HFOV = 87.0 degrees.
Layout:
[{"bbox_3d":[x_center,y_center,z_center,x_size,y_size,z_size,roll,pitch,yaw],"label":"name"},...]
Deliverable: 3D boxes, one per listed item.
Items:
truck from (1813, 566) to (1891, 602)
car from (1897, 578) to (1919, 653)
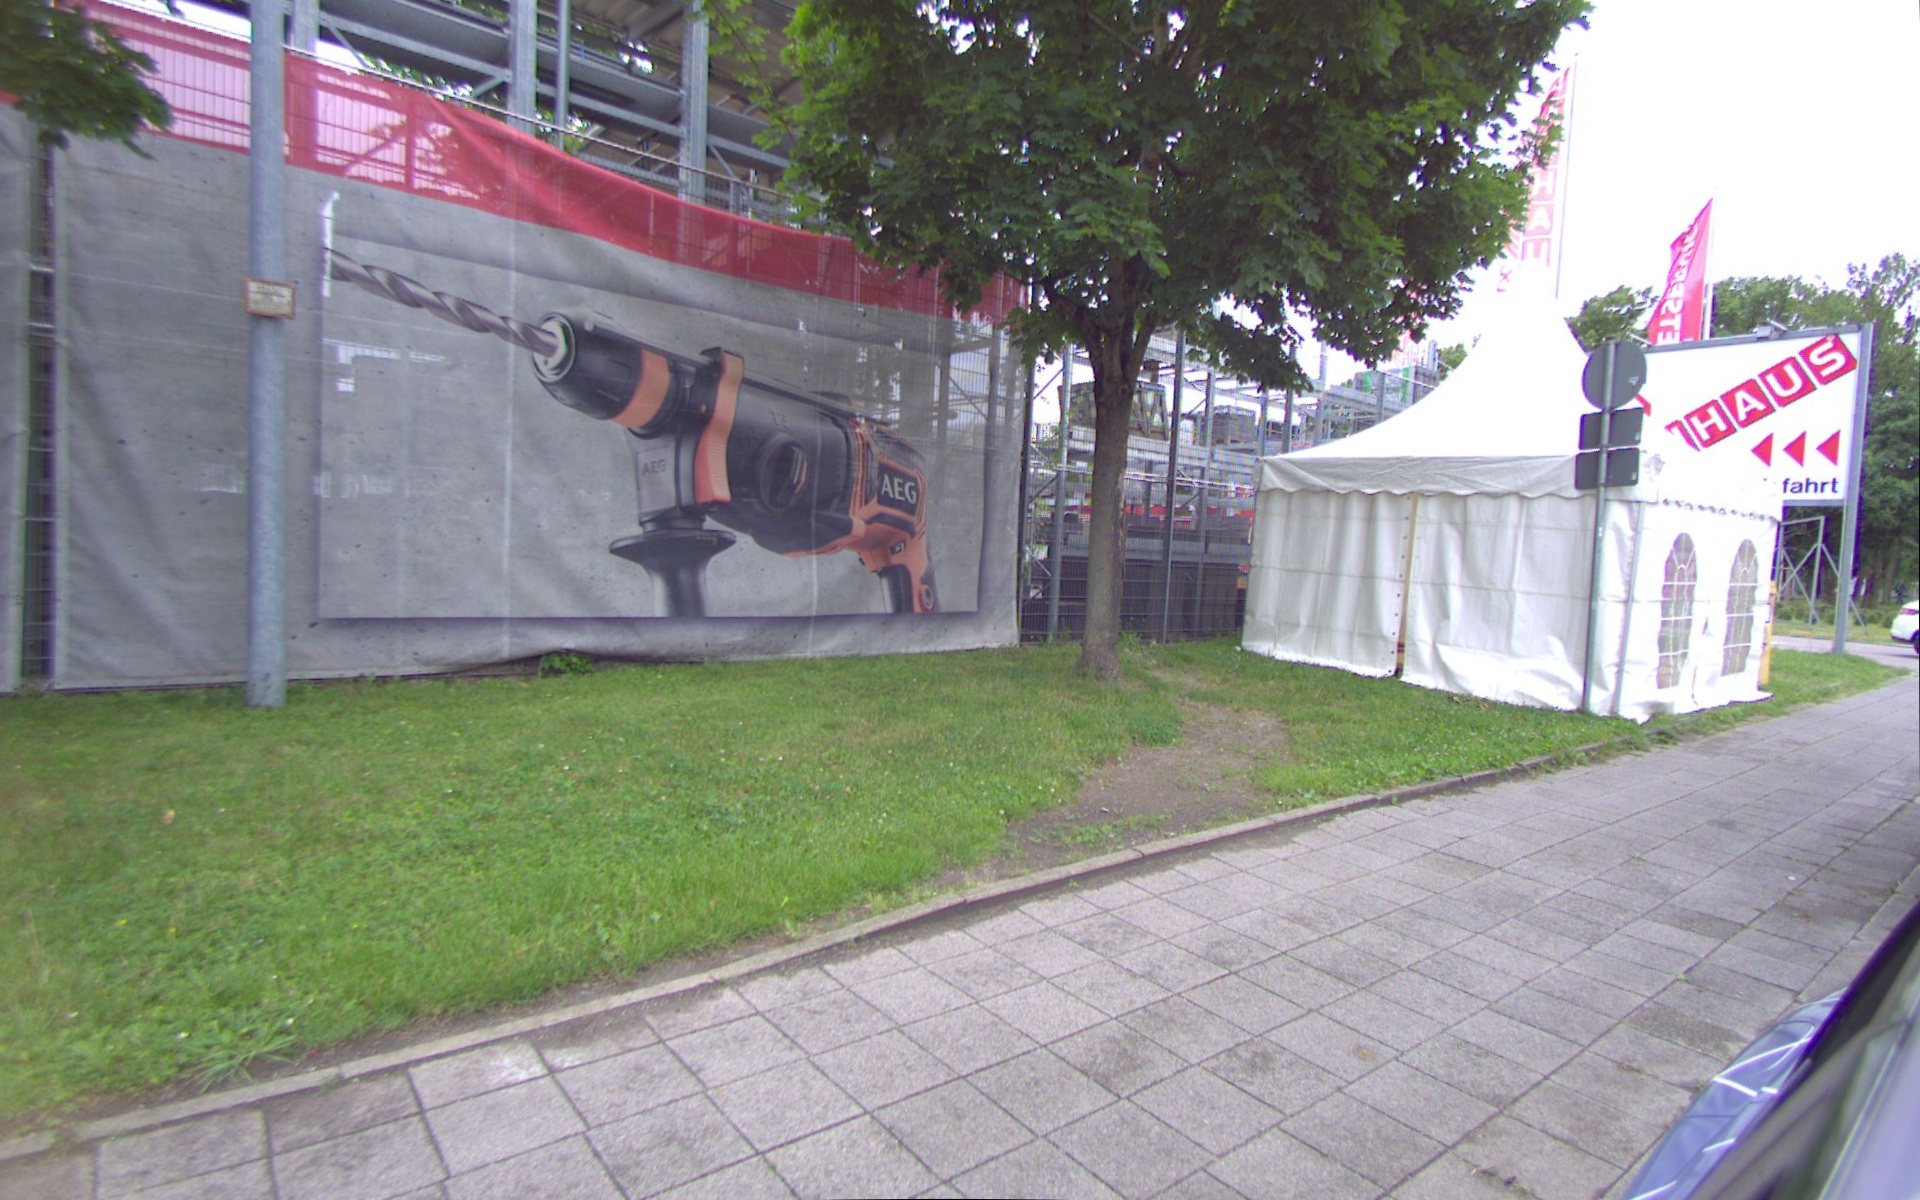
[{"bbox_3d":[67.579,-1.213,76.706,3.925,2.425,2.001,3,3,1],"label":"truck"},{"bbox_3d":[20.779,0.426,18.911,1.904,1.445,4.496,-1,4,-36],"label":"car"}]
